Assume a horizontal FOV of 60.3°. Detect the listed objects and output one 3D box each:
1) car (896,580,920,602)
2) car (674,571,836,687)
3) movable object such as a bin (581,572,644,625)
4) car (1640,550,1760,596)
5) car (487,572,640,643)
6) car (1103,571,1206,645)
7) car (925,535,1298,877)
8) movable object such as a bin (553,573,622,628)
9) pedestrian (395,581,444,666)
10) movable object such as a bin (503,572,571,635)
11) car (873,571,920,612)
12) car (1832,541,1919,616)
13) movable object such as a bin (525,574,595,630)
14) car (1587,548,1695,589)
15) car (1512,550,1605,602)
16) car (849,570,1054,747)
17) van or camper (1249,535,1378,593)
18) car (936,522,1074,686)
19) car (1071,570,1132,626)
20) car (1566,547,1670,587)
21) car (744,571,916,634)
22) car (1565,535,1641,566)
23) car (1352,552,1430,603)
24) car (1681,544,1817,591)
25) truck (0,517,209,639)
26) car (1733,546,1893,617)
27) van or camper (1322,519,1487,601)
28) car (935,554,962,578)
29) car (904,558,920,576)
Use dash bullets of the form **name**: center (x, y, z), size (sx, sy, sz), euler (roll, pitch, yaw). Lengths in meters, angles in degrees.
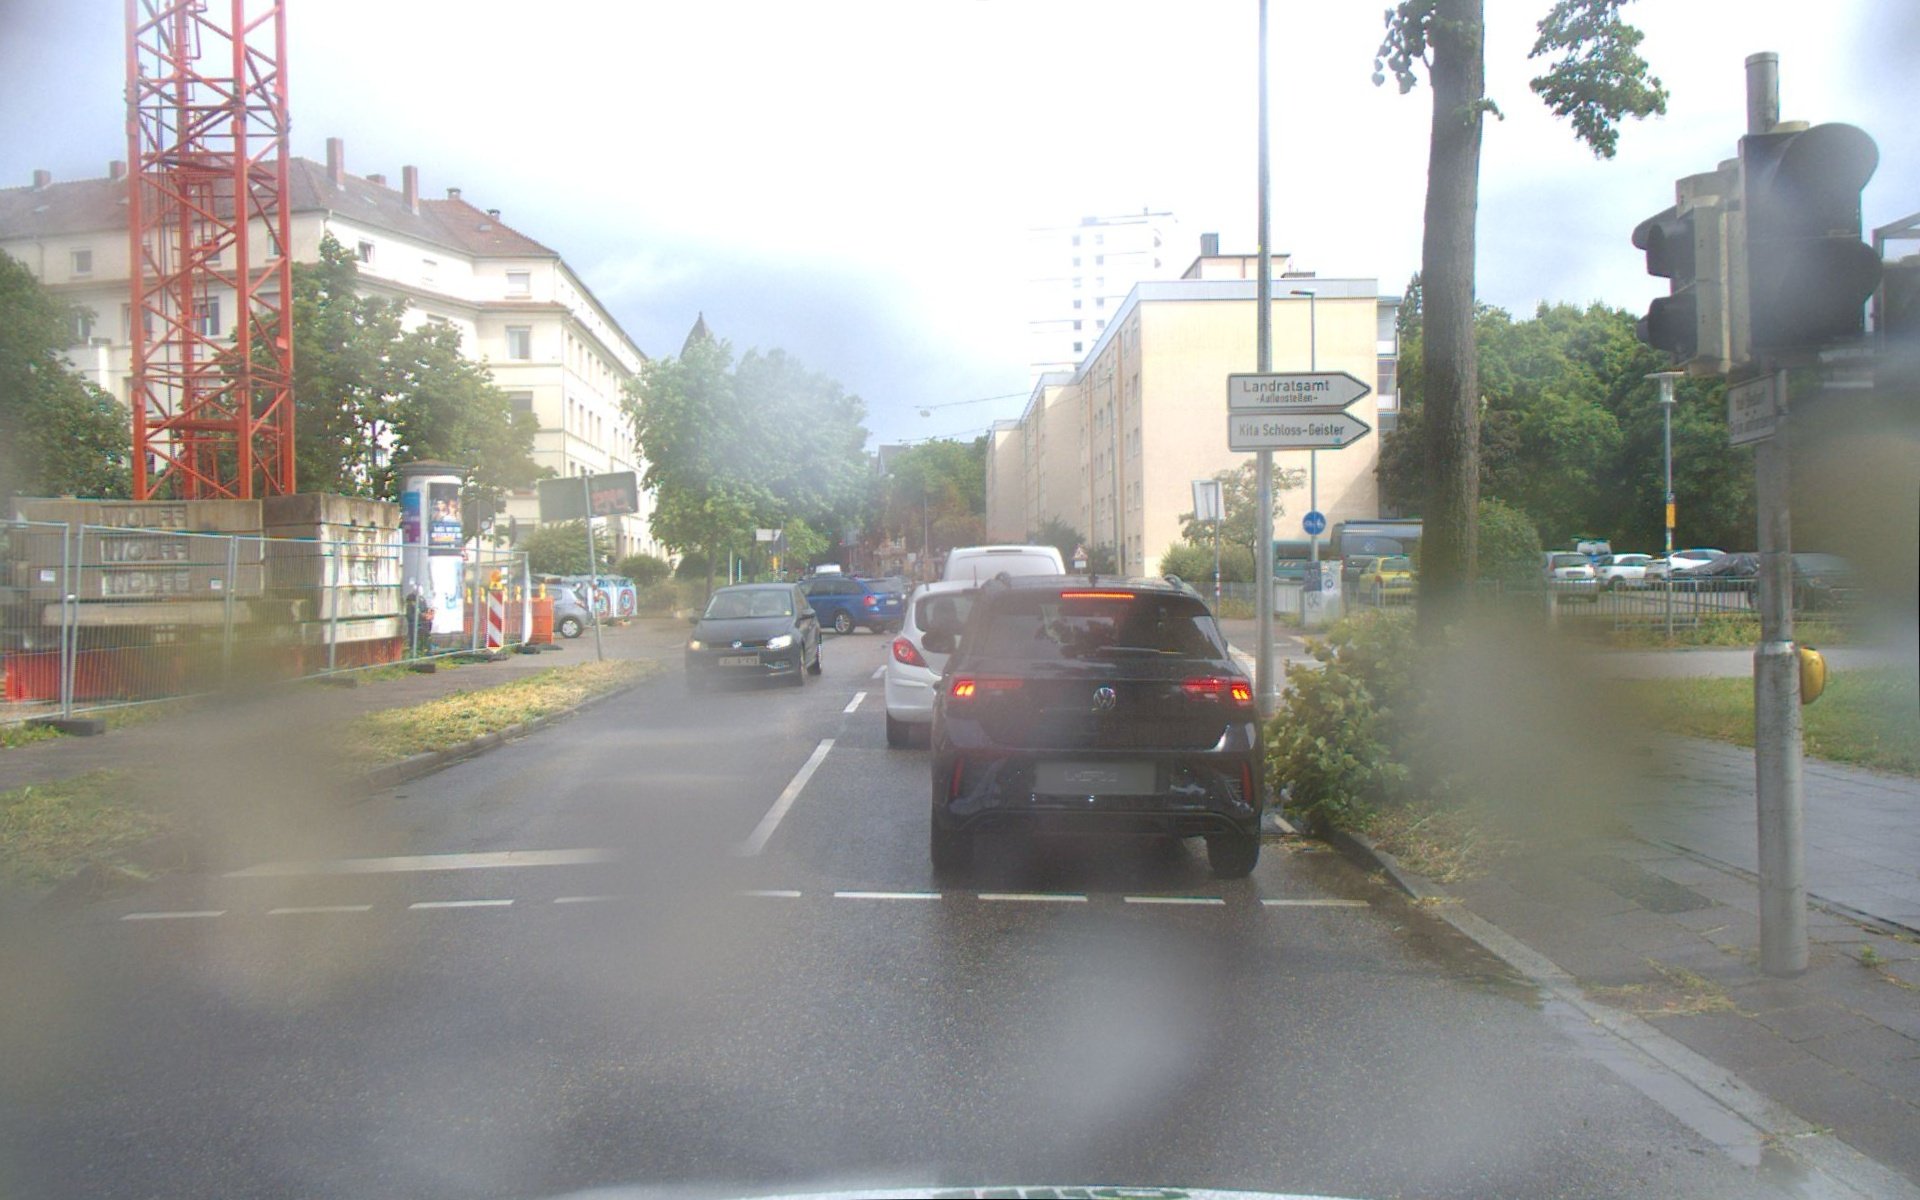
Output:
- **car**: center (-4.282, -0.759, 136.434), size (1.705, 1.636, 3.676), euler (-3, 1, 1)
- **car**: center (-2.912, 0.394, 24.269), size (1.776, 1.567, 3.982), euler (0, 0, 1)
- **movable object such as a bin**: center (-11.598, -0.067, 55.250), size (1.505, 1.691, 1.460), euler (-1, 1, 18)
- **car**: center (26.758, -0.973, 59.890), size (3.590, 1.512, 1.640), euler (-2, 1, 3)
- **car**: center (-11.016, 0.222, 46.165), size (3.915, 1.665, 1.891), euler (-4, -1, -10)
- **car**: center (4.596, 0.147, 39.583), size (1.738, 1.566, 4.377), euler (-3, 1, -2)
- **car**: center (0.736, 0.525, 10.241), size (1.835, 1.674, 4.061), euler (1, 0, -1)
- **movable object such as a bin**: center (-12.082, 0.011, 53.728), size (1.505, 1.703, 1.667), euler (-1, 1, 18)
- **pedestrian**: center (-10.665, 0.463, 32.627), size (0.716, 1.658, 0.675), euler (1, 0, -38)
- **movable object such as a bin**: center (-12.931, 0.093, 50.615), size (1.505, 1.856, 1.264), euler (-1, 1, 18)
- **car**: center (-2.753, -0.396, 72.791), size (1.803, 1.636, 4.001), euler (-3, 1, 1)
- **car**: center (22.962, -0.562, 39.922), size (1.814, 1.708, 4.426), euler (-2, 1, 5)
- **movable object such as a bin**: center (-12.596, 0.066, 52.160), size (1.505, 1.685, 1.529), euler (-1, 1, 18)
- **car**: center (26.848, -1.239, 65.283), size (3.590, 1.512, 1.640), euler (-2, 1, 3)
- **car**: center (18.352, -0.745, 50.832), size (1.614, 1.512, 3.720), euler (-2, 1, 2)
- **car**: center (-0.087, 0.514, 16.492), size (1.776, 1.529, 3.999), euler (1, 0, 0)
- **van or camper**: center (13.913, -1.432, 65.321), size (4.660, 2.168, 2.323), euler (-1, 1, 3)
- **car**: center (0.642, 0.057, 23.914), size (1.798, 2.139, 4.001), euler (1, 0, 1)
- **car**: center (4.326, -0.030, 51.076), size (1.720, 1.554, 4.001), euler (2, -1, 3)
- **car**: center (26.829, -1.336, 67.537), size (3.590, 1.512, 1.640), euler (-2, 1, 3)
- **car**: center (-3.477, 0.080, 44.003), size (4.353, 1.613, 1.817), euler (0, -1, 33)
- **car**: center (31.489, -2.425, 81.065), size (3.158, 1.422, 1.509), euler (-2, 1, 3)
- **car**: center (13.319, -0.691, 51.247), size (1.577, 1.474, 3.417), euler (-2, 1, 1)
- **car**: center (27.384, -1.117, 57.464), size (3.892, 1.490, 1.673), euler (-2, 1, 1)
- **truck**: center (-27.314, -0.553, 47.949), size (9.602, 3.239, 3.796), euler (-2, 1, 12)
- **car**: center (20.282, -0.457, 39.538), size (1.790, 1.553, 4.426), euler (-2, 1, 4)
- **van or camper**: center (14.723, -1.305, 55.016), size (4.895, 2.599, 2.175), euler (-1, 0, 1)
- **car**: center (-0.800, -2.460, 118.984), size (1.803, 1.636, 3.676), euler (-3, 1, 1)
- **car**: center (-5.264, -3.647, 181.924), size (1.632, 1.869, 3.998), euler (-2, 1, -3)
